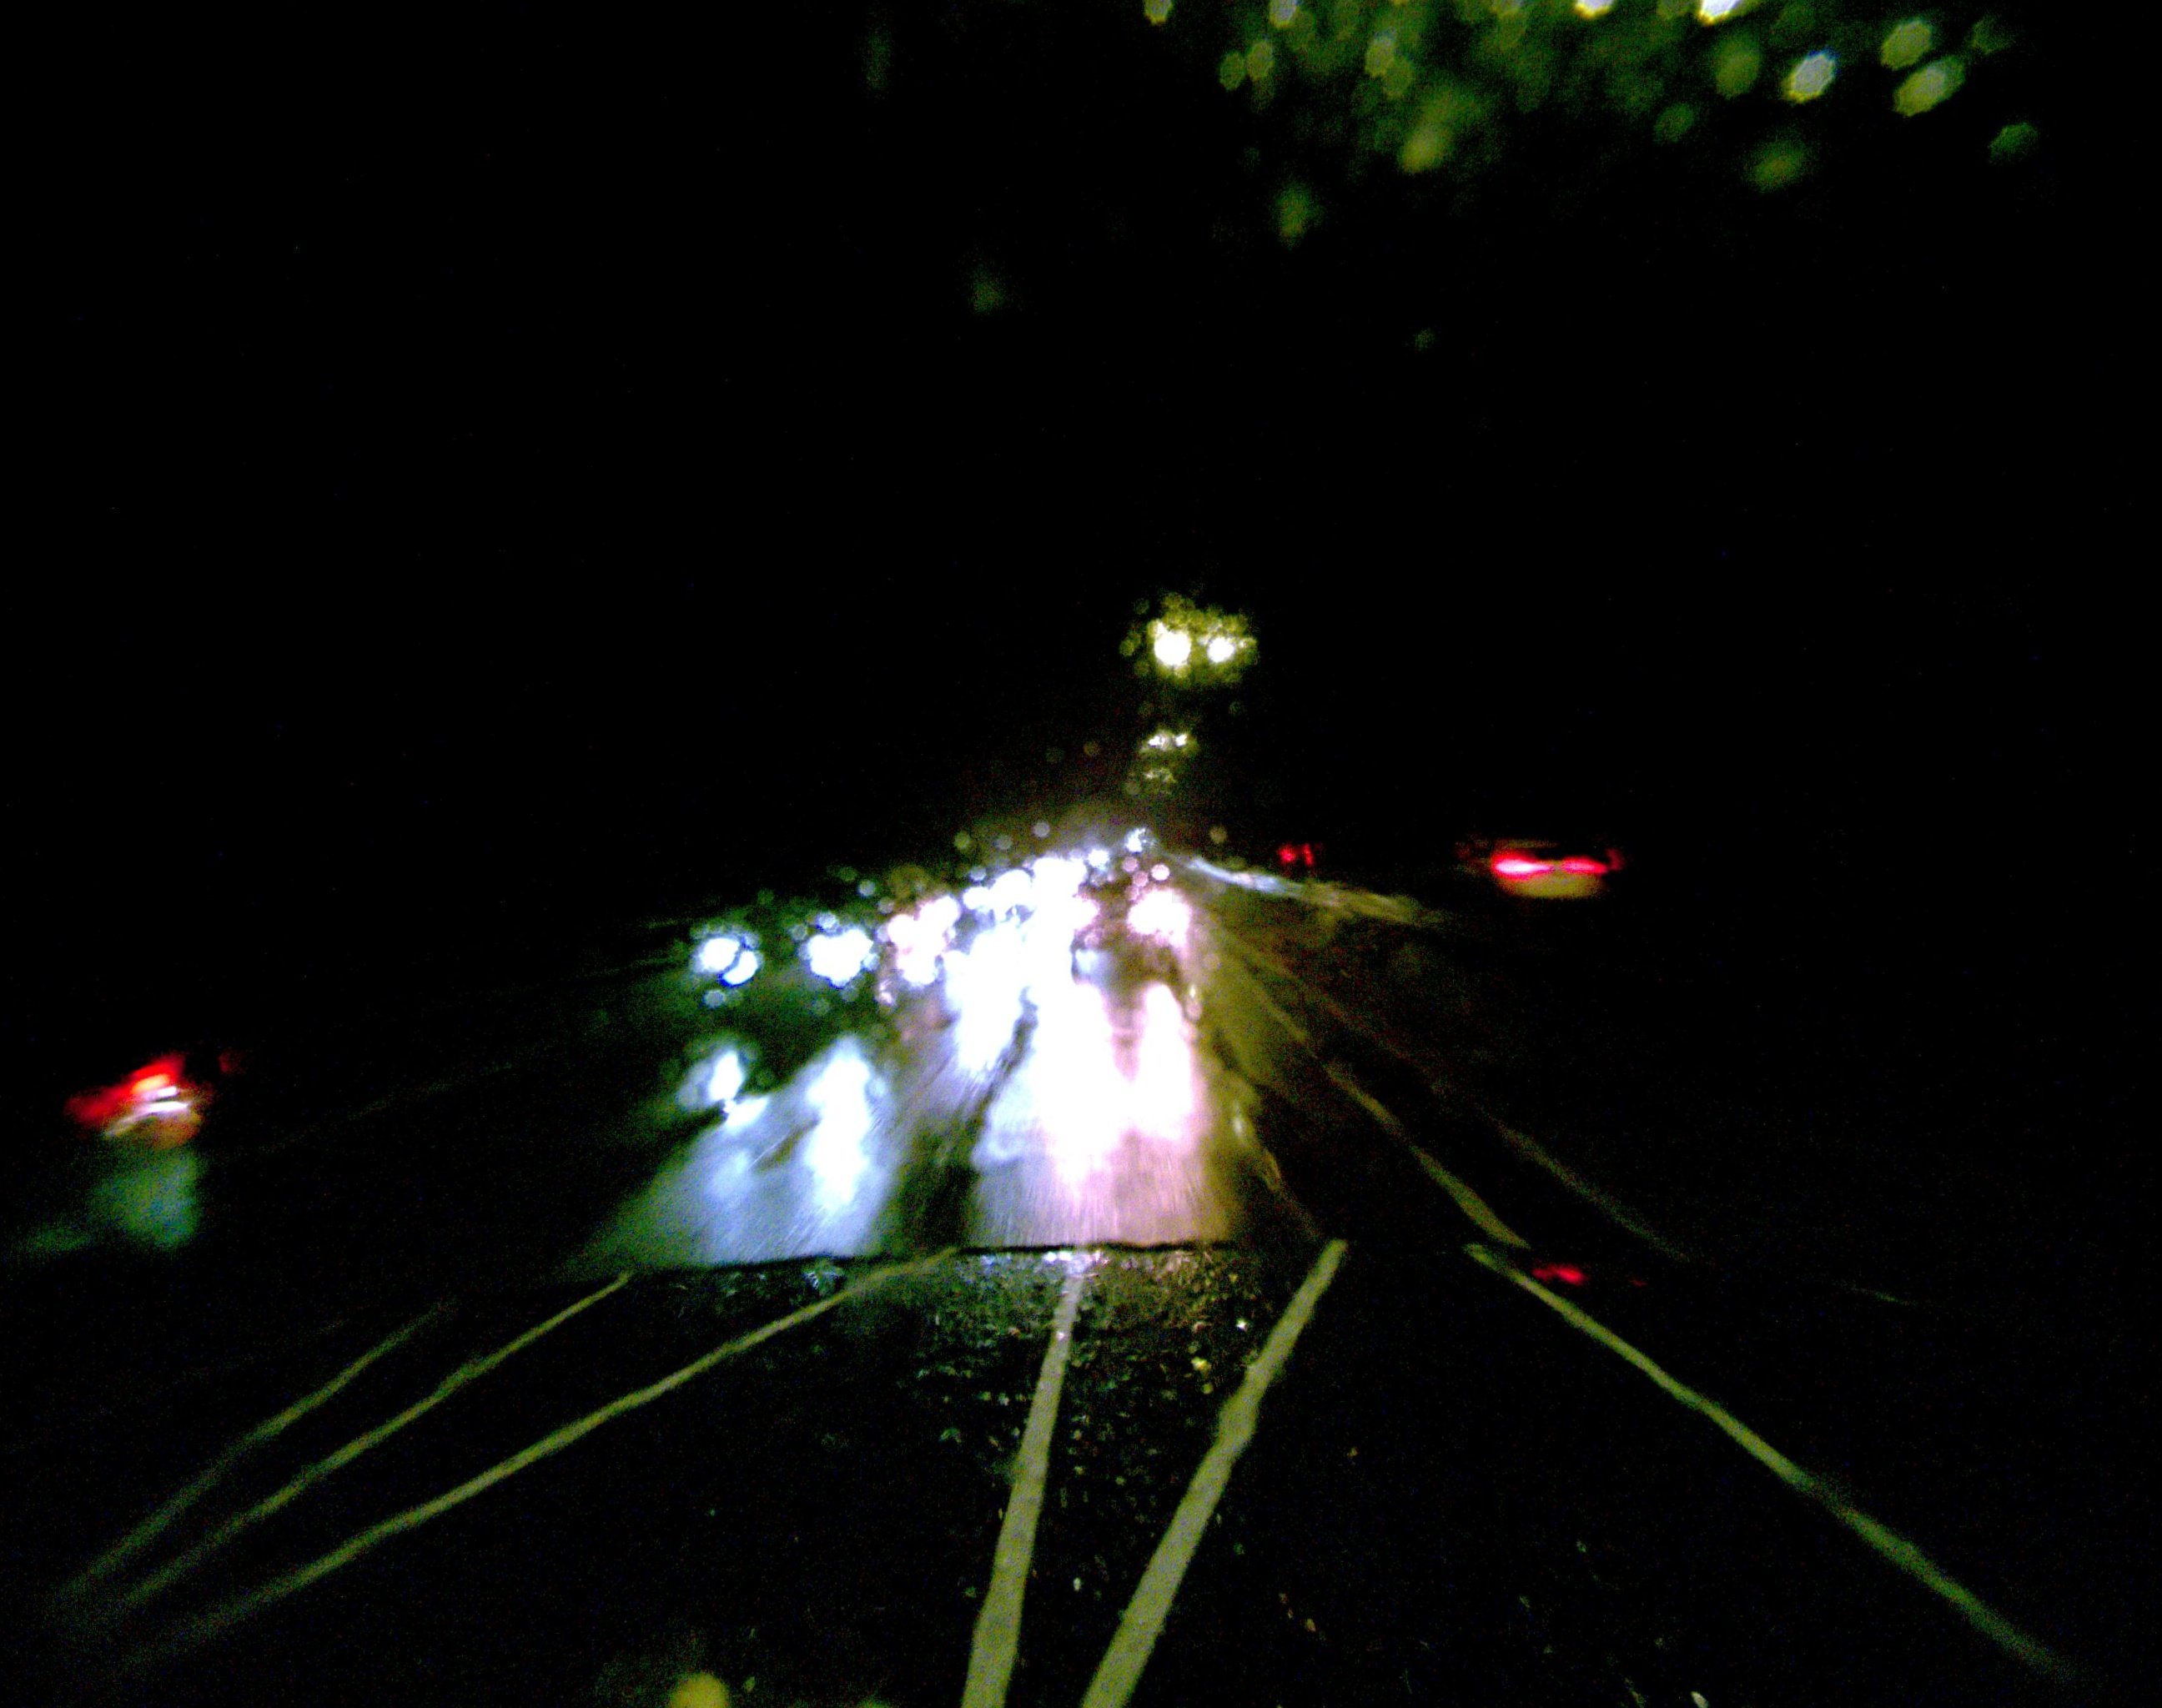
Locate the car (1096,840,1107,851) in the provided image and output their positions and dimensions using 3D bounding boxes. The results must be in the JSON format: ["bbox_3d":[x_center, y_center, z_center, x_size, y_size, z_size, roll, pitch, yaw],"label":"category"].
[{"bbox_3d":[3.748,-1.655,141.256,1.998,2.002,4.000,-2,1,2],"label":"car"}]

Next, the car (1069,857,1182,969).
[{"bbox_3d":[0.688,0.816,12.092,1.497,1.416,3.389,-2,1,3],"label":"car"}]

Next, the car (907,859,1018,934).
[{"bbox_3d":[-2.705,0.929,18.295,1.742,1.409,4.140,-3,1,3],"label":"car"}]

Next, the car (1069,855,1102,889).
[{"bbox_3d":[0.361,1.154,50.908,1.998,2.002,4.000,-3,1,2],"label":"car"}]

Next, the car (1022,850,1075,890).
[{"bbox_3d":[-1.392,0.668,34.198,1.998,1.589,4.392,-1,1,2],"label":"car"}]

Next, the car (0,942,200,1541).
[{"bbox_3d":[-3.755,1.128,0.124,1.677,1.498,4.559,-4,1,2],"label":"car"}]

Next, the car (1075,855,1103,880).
[{"bbox_3d":[0.634,1.005,58.989,1.998,1.789,4.000,-1,1,2],"label":"car"}]

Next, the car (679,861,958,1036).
[{"bbox_3d":[-2.921,0.952,9.607,1.711,1.513,4.414,-3,1,3],"label":"car"}]

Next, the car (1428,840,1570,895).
[{"bbox_3d":[12.305,0.319,22.776,1.716,1.415,4.666,-1,2,0],"label":"car"}]

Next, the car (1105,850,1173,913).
[{"bbox_3d":[1.537,0.691,20.960,1.606,1.417,3.389,-4,1,2],"label":"car"}]

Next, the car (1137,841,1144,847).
[{"bbox_3d":[18.234,-3.118,231.843,1.998,1.669,4.001,-3,1,5],"label":"car"}]

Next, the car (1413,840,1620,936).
[{"bbox_3d":[8.530,0.555,15.383,1.874,1.598,4.248,-2,1,2],"label":"car"}]

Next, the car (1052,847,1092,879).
[{"bbox_3d":[-0.430,0.465,42.800,1.998,1.589,4.392,-1,1,2],"label":"car"}]

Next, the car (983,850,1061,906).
[{"bbox_3d":[-1.814,0.711,24.878,1.998,1.589,4.392,-1,1,2],"label":"car"}]

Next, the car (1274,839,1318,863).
[{"bbox_3d":[14.134,-0.223,50.260,1.997,1.499,4.841,-1,1,6],"label":"car"}]
